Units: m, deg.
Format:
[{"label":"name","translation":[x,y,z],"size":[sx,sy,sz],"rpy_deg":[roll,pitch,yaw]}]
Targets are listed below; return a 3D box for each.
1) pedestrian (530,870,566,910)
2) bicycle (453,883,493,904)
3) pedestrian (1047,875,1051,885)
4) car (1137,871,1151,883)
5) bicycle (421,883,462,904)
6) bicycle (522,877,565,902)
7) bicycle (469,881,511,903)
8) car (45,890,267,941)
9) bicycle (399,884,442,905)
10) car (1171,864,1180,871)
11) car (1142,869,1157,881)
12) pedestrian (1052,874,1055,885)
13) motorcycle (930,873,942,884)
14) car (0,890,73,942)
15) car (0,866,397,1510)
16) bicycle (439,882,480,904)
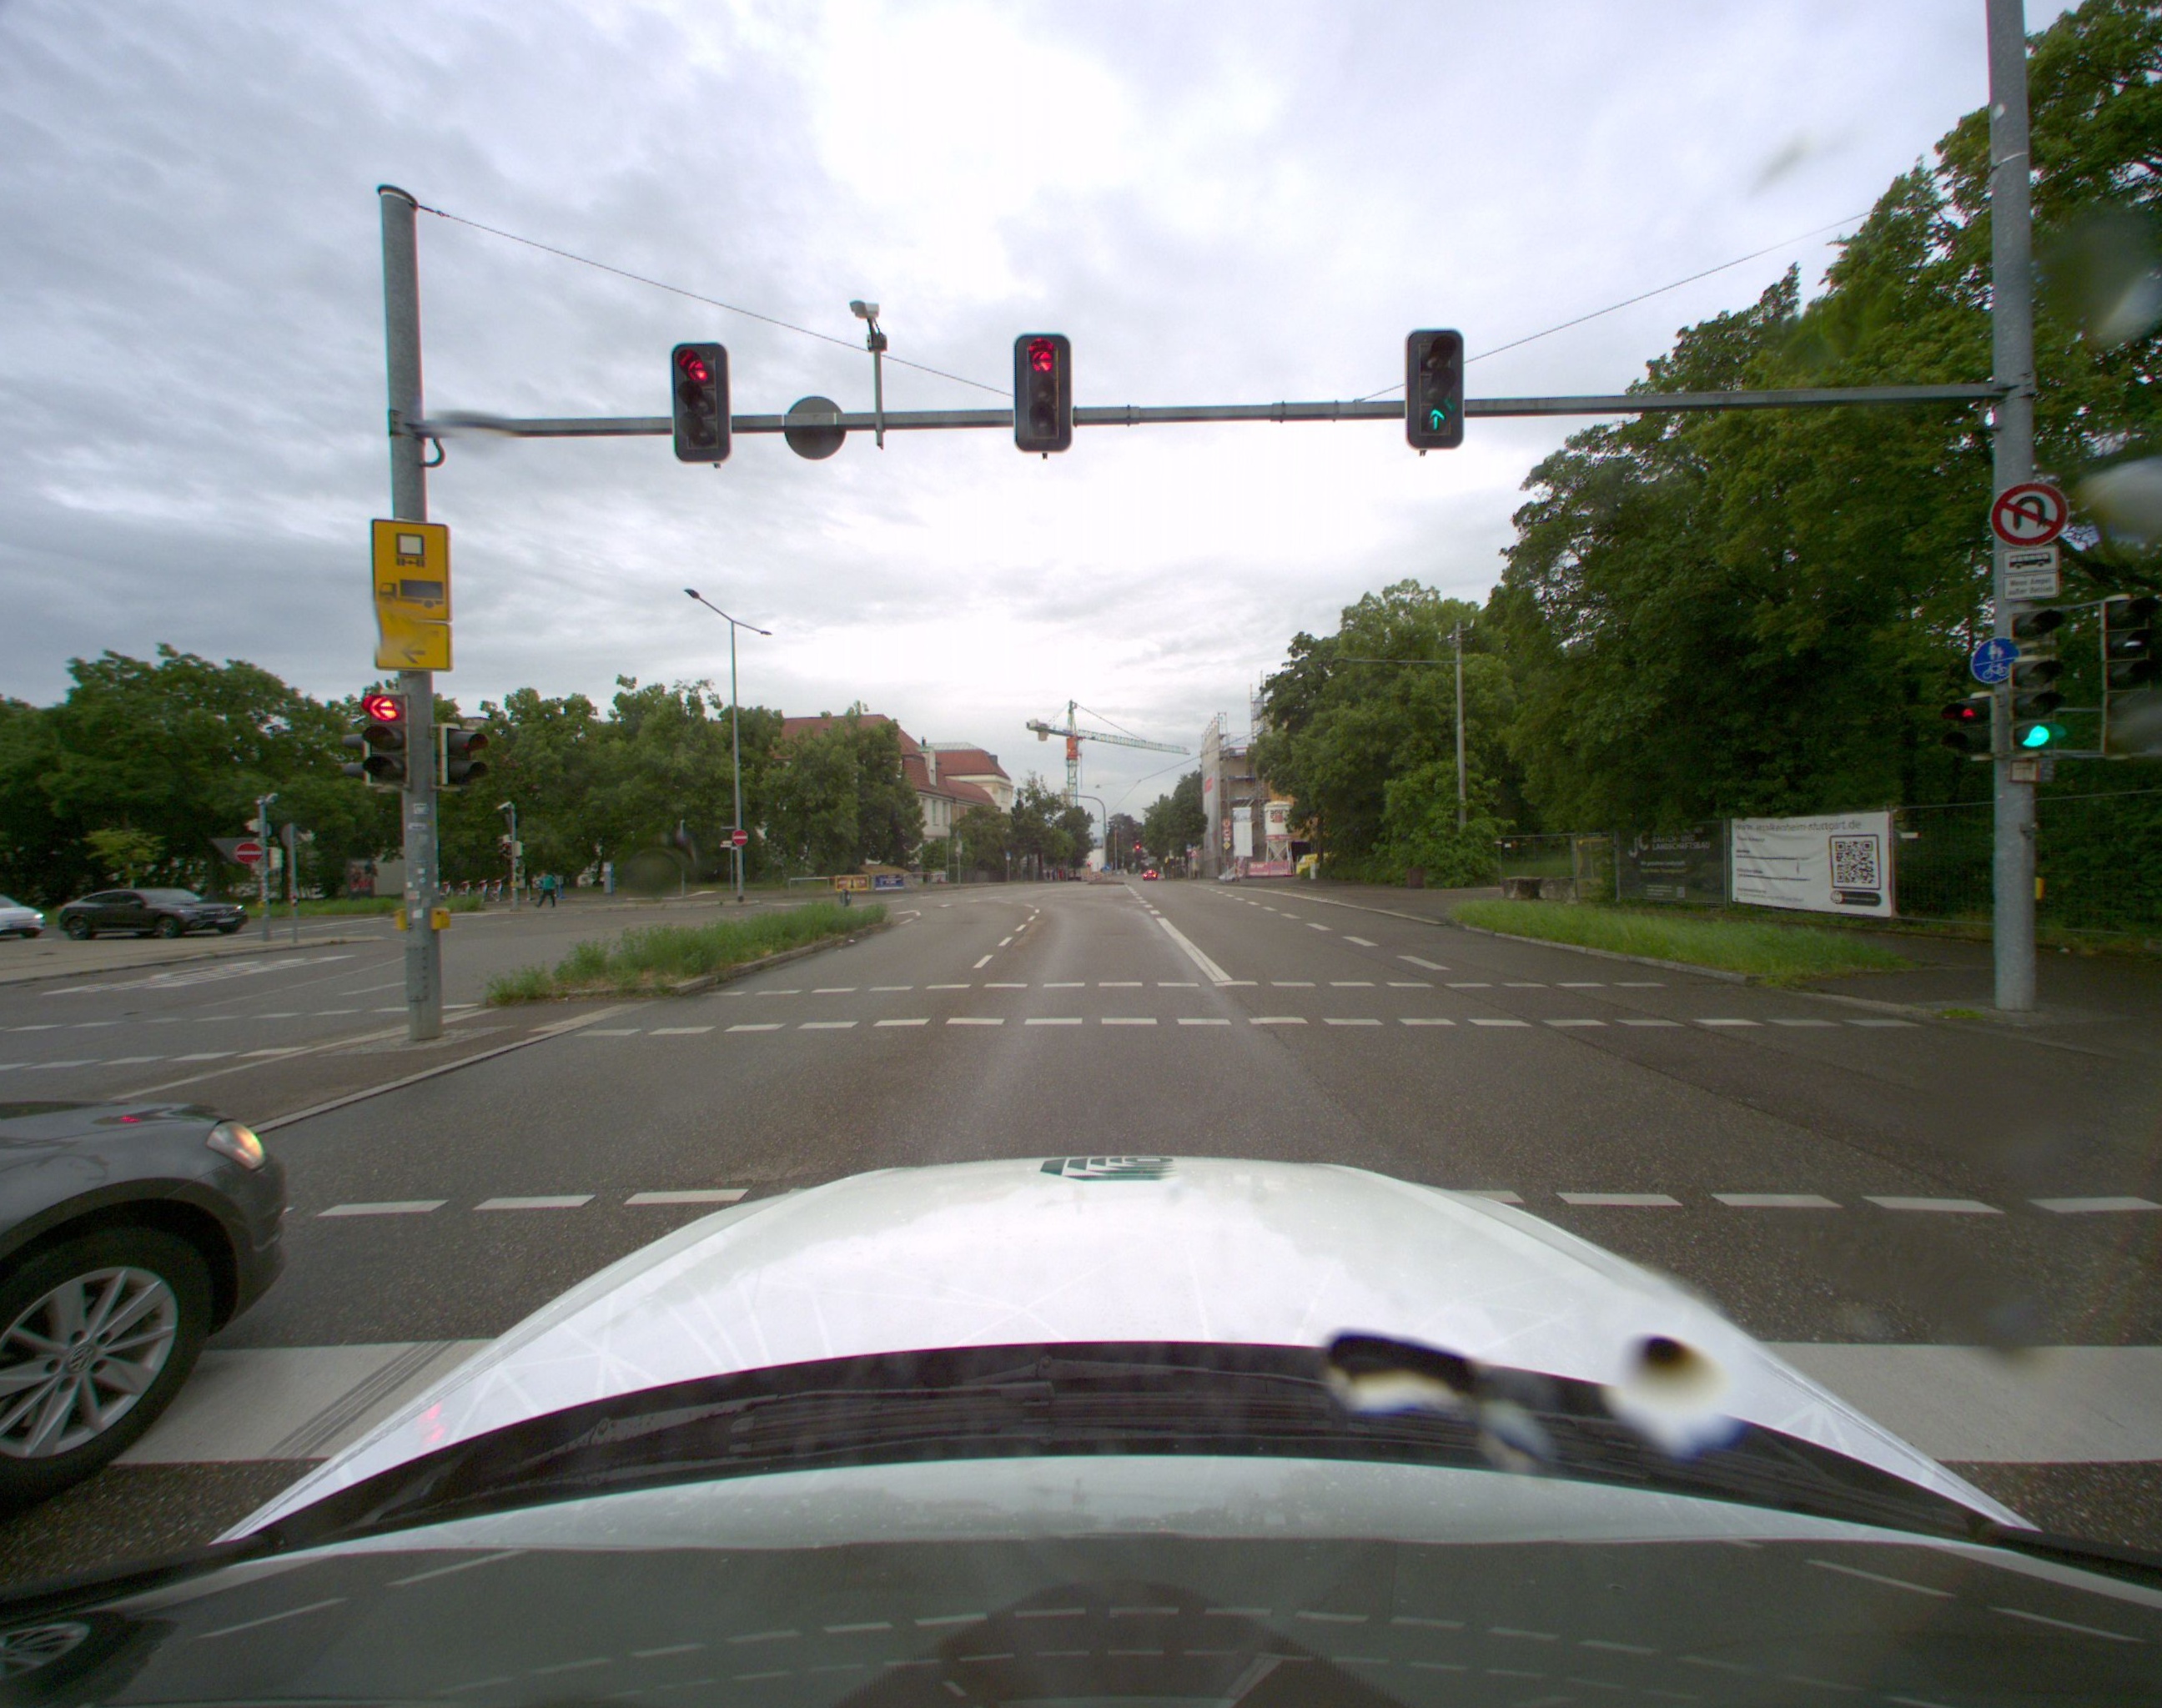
[{"label":"pedestrian","translation":[-23.094,1.550,35.285],"size":[0.919,1.727,0.946],"rpy_deg":[0,-1,1]},{"label":"bicycle","translation":[-33.015,2.119,44.278],"size":[0.649,1.071,1.982],"rpy_deg":[0,-1,2]},{"label":"pedestrian","translation":[-4.890,3.963,124.337],"size":[0.473,1.396,0.411],"rpy_deg":[-2,0,1]},{"label":"car","translation":[10.236,3.655,131.868],"size":[1.986,1.750,4.001],"rpy_deg":[-2,0,1]},{"label":"bicycle","translation":[-34.983,2.143,44.584],"size":[0.649,1.071,1.982],"rpy_deg":[0,-1,2]},{"label":"bicycle","translation":[-29.432,1.932,44.618],"size":[0.987,1.249,1.982],"rpy_deg":[0,-1,2]},{"label":"bicycle","translation":[-32.265,2.067,44.510],"size":[0.798,1.071,1.982],"rpy_deg":[0,-1,2]},{"label":"car","translation":[-30.074,1.986,26.588],"size":[5.006,1.500,2.001],"rpy_deg":[0,-1,1]},{"label":"bicycle","translation":[-35.961,2.179,44.369],"size":[0.649,1.071,1.982],"rpy_deg":[0,-1,2]},{"label":"car","translation":[25.479,3.493,218.948],"size":[1.980,1.750,4.014],"rpy_deg":[-2,0,13]},{"label":"car","translation":[10.490,3.191,124.939],"size":[1.986,1.750,4.001],"rpy_deg":[-2,0,1]},{"label":"pedestrian","translation":[-4.158,3.871,124.262],"size":[0.492,1.645,0.533],"rpy_deg":[0,-1,-4]},{"label":"motorcycle","translation":[-11.604,1.964,65.173],"size":[0.846,0.877,0.877],"rpy_deg":[0,-1,1]},{"label":"car","translation":[-36.495,2.038,27.054],"size":[3.539,1.594,2.001],"rpy_deg":[0,-1,1]},{"label":"car","translation":[-3.467,0.804,0.774],"size":[1.809,1.481,4.378],"rpy_deg":[-2,0,2]},{"label":"bicycle","translation":[-33.904,2.115,44.453],"size":[0.649,1.071,1.982],"rpy_deg":[0,-1,2]}]
